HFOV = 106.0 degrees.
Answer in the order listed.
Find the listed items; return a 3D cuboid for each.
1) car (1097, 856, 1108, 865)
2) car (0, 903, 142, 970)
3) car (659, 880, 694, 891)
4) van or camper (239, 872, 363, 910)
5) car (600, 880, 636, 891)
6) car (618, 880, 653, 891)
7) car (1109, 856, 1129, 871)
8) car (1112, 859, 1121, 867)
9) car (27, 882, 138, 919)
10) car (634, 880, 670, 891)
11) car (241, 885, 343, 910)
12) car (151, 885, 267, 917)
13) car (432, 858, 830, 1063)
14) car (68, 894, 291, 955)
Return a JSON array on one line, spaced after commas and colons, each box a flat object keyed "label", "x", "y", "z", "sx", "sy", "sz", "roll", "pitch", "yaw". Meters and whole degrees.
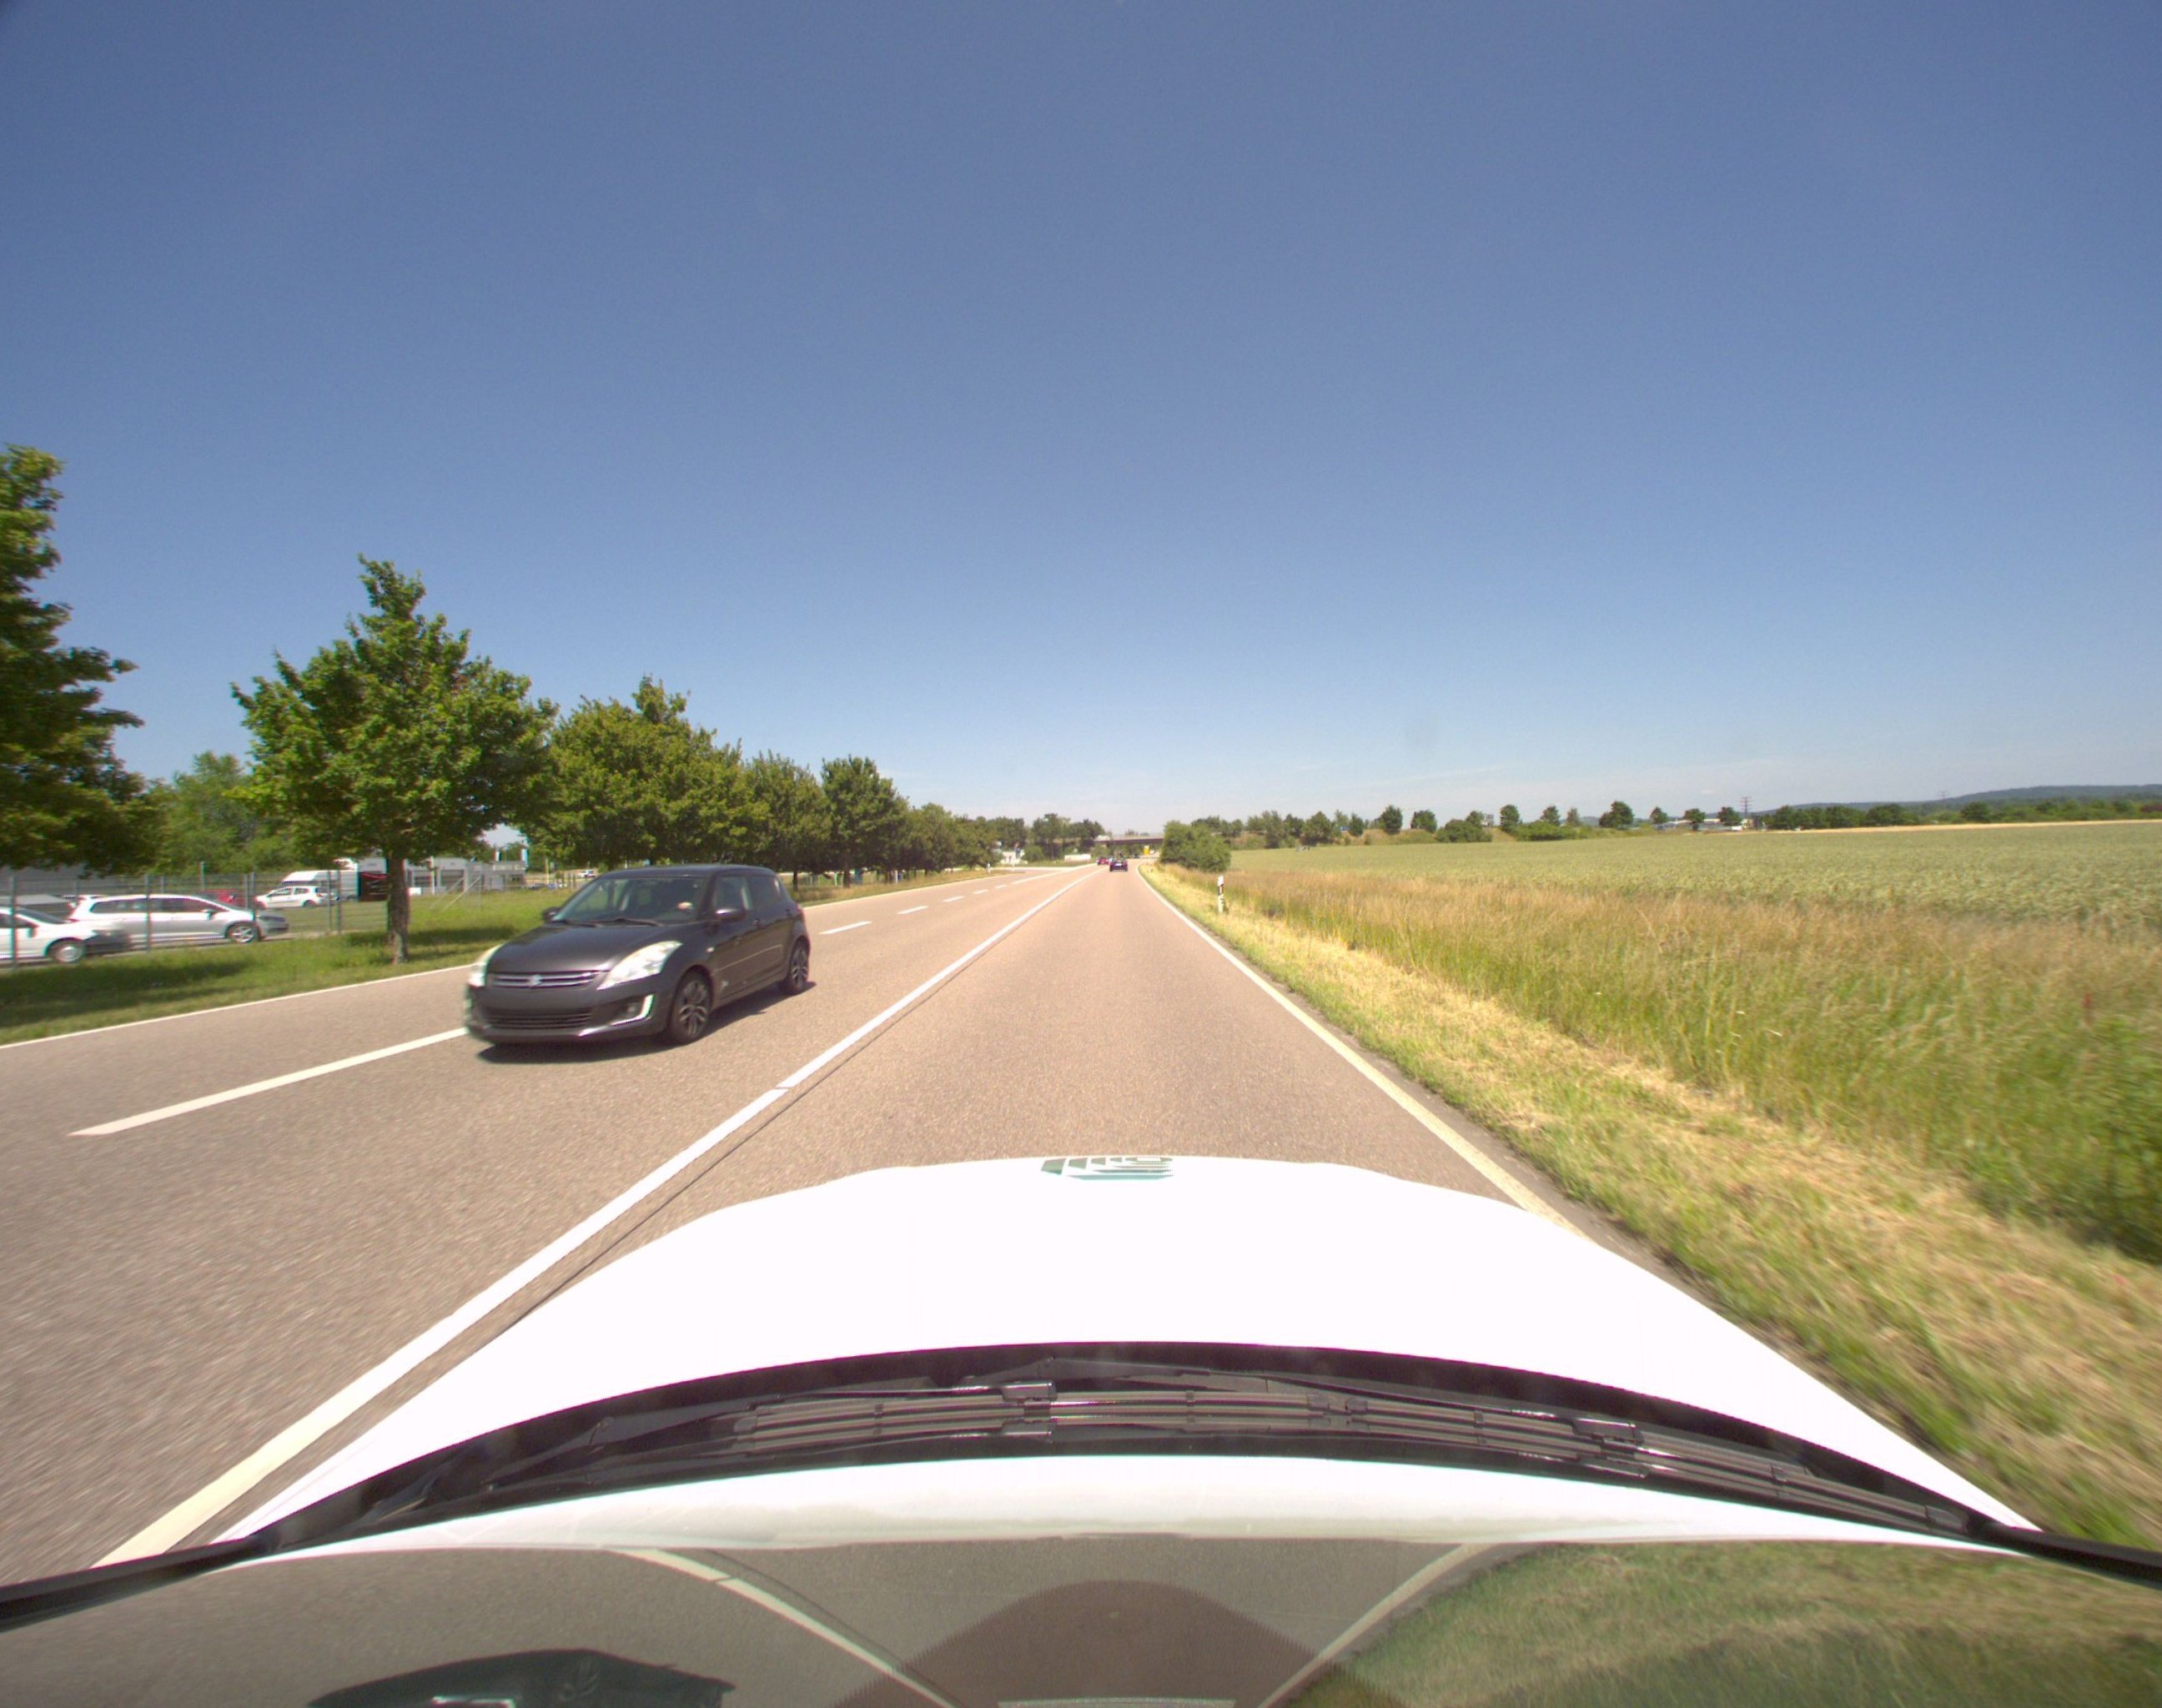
[{"label": "car", "x": 3.562, "y": 1.089, "z": 134.367, "sx": 1.735, "sy": 1.411, "sz": 4.626, "roll": -1, "pitch": 0, "yaw": 2}, {"label": "car", "x": -26.955, "y": 2.109, "z": 20.537, "sx": 4.013, "sy": 1.480, "sz": 1.654, "roll": -1, "pitch": 0, "yaw": -38}, {"label": "car", "x": -57.212, "y": 4.409, "z": 115.230, "sx": 1.974, "sy": 1.394, "sz": 4.025, "roll": -3, "pitch": -1, "yaw": 29}, {"label": "van or camper", "x": -53.505, "y": 2.490, "z": 56.142, "sx": 2.457, "sy": 2.363, "sz": 6.531, "roll": -1, "pitch": -1, "yaw": -3}, {"label": "car", "x": -67.268, "y": 4.546, "z": 118.277, "sx": 1.974, "sy": 1.394, "sz": 4.025, "roll": -3, "pitch": -1, "yaw": 29}, {"label": "car", "x": -64.190, "y": 4.505, "z": 117.421, "sx": 1.974, "sy": 1.394, "sz": 4.025, "roll": -3, "pitch": -1, "yaw": 29}, {"label": "car", "x": 3.689, "y": 0.904, "z": 79.896, "sx": 1.808, "sy": 1.441, "sz": 3.999, "roll": 0, "pitch": -1, "yaw": 0}, {"label": "car", "x": 6.990, "y": 1.763, "z": 161.094, "sx": 1.724, "sy": 1.391, "sz": 4.495, "roll": -1, "pitch": 0, "yaw": 3}, {"label": "car", "x": -60.079, "y": 2.755, "z": 49.067, "sx": 3.979, "sy": 2.014, "sz": 1.997, "roll": -1, "pitch": -1, "yaw": -4}, {"label": "car", "x": -61.133, "y": 4.457, "z": 116.093, "sx": 1.974, "sy": 1.394, "sz": 4.025, "roll": -3, "pitch": -1, "yaw": 29}, {"label": "car", "x": -48.090, "y": 2.631, "z": 49.722, "sx": 3.994, "sy": 1.354, "sz": 1.989, "roll": -1, "pitch": -1, "yaw": -16}, {"label": "car", "x": -47.355, "y": 2.547, "z": 44.288, "sx": 3.981, "sy": 1.508, "sz": 1.925, "roll": -1, "pitch": -1, "yaw": -5}, {"label": "car", "x": -4.004, "y": 0.818, "z": 8.095, "sx": 1.673, "sy": 1.499, "sz": 3.887, "roll": -1, "pitch": 0, "yaw": 2}, {"label": "car", "x": -27.343, "y": 2.074, "z": 24.939, "sx": 4.363, "sy": 1.543, "sz": 1.571, "roll": 0, "pitch": -1, "yaw": -39}]
